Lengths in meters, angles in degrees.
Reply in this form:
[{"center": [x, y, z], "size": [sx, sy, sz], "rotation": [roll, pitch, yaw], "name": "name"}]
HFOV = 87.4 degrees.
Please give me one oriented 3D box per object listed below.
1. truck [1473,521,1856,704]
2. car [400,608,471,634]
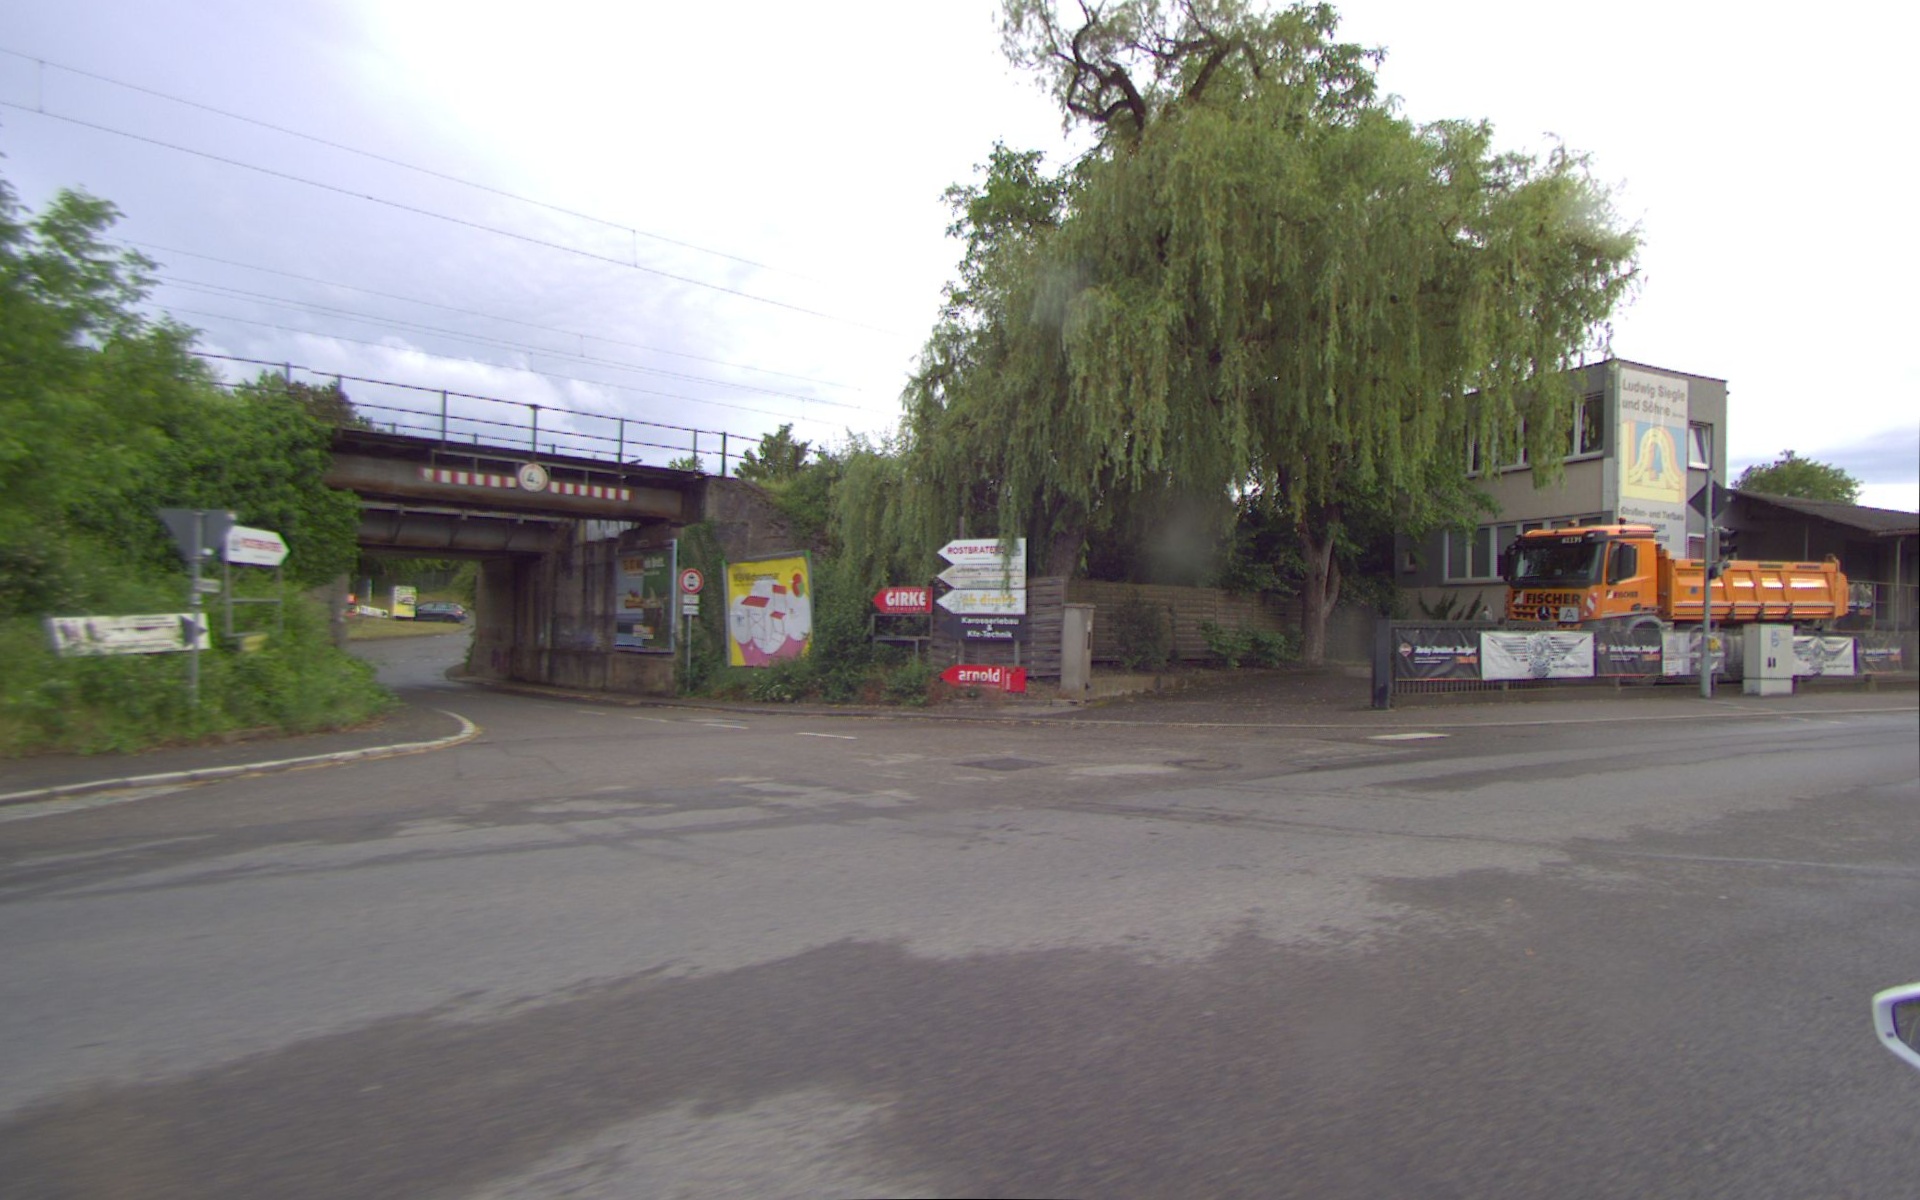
[{"center": [16.183, 0.407, 22.940], "size": [8.943, 3.456, 2.691], "rotation": [4, 0, -23], "name": "truck"}, {"center": [-35.148, 1.406, 67.436], "size": [3.854, 1.684, 1.902], "rotation": [1, -1, -16], "name": "car"}]
